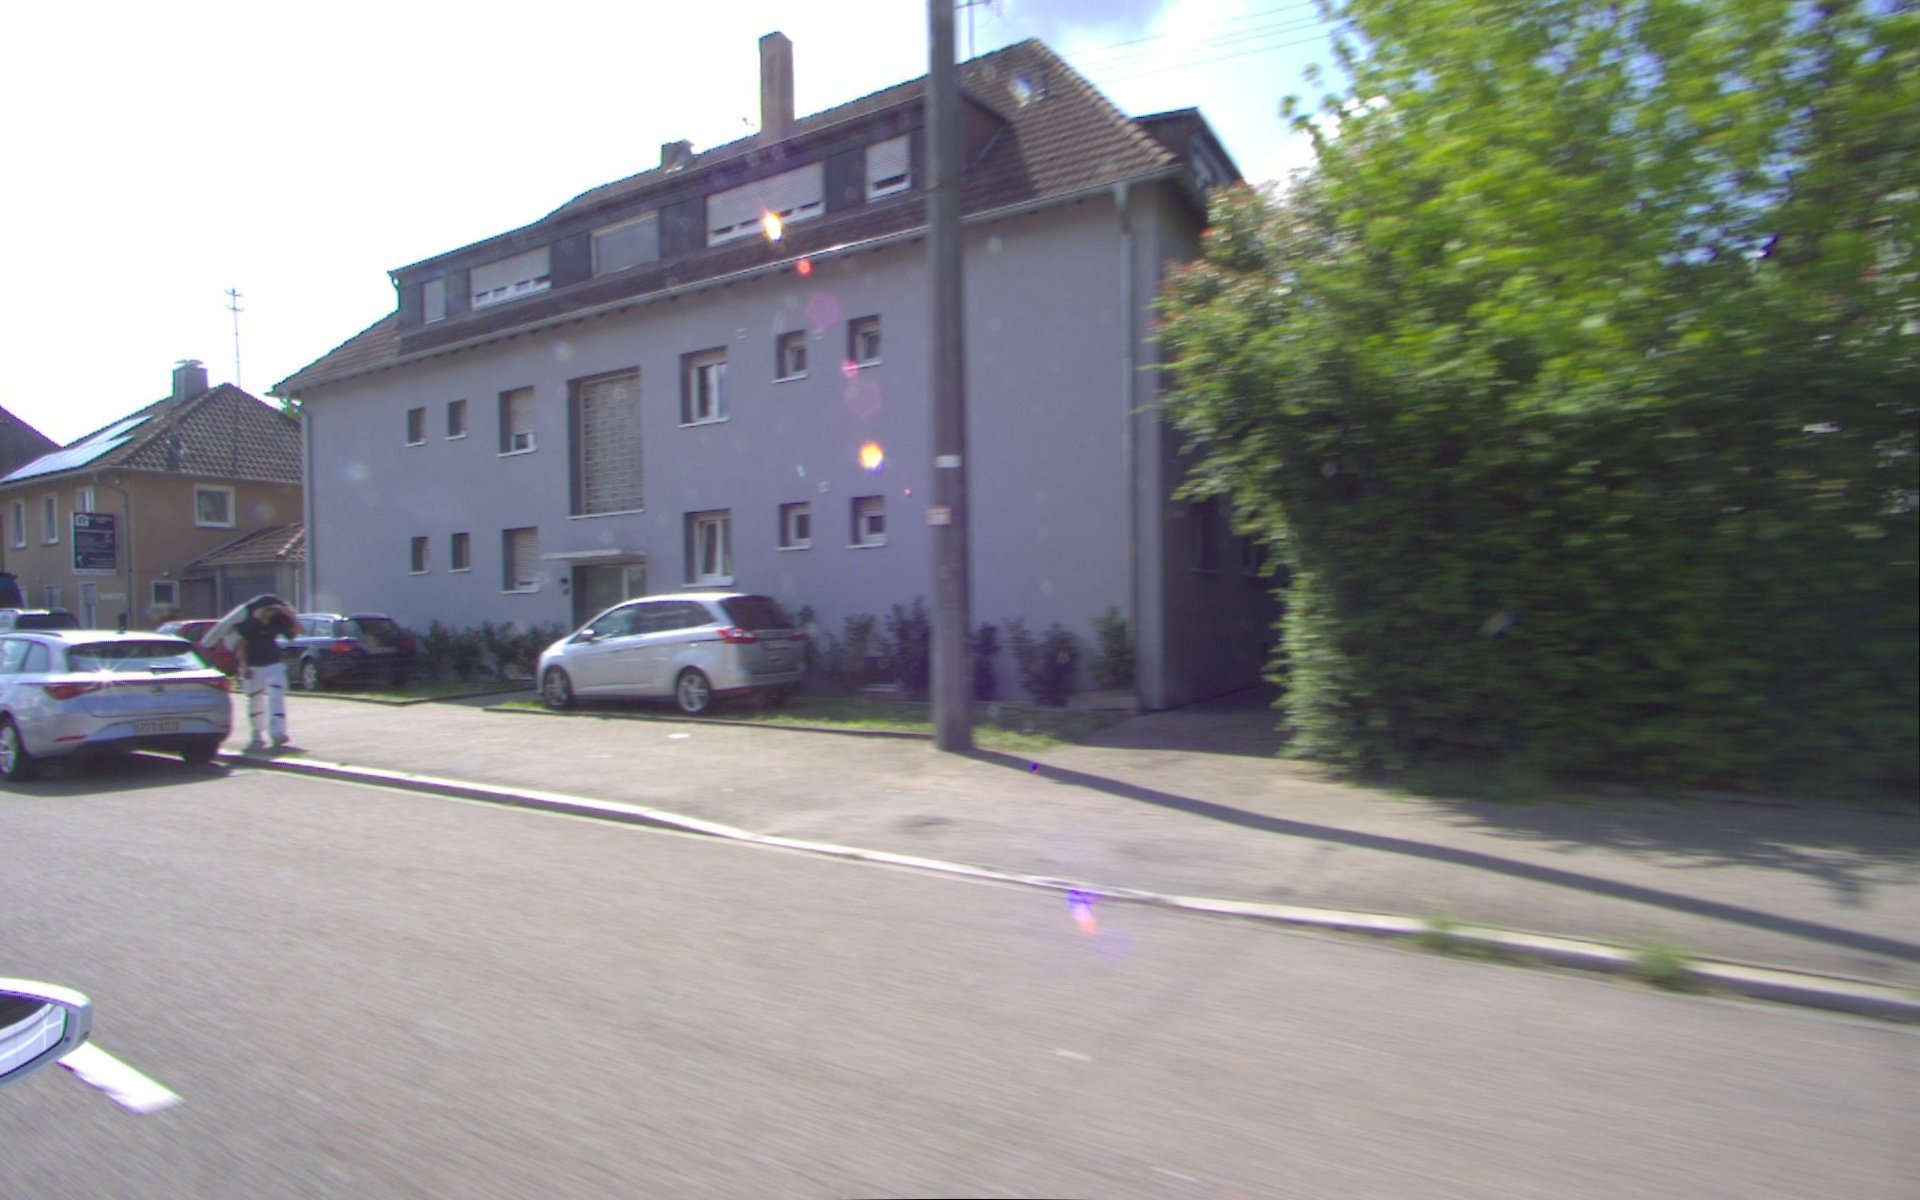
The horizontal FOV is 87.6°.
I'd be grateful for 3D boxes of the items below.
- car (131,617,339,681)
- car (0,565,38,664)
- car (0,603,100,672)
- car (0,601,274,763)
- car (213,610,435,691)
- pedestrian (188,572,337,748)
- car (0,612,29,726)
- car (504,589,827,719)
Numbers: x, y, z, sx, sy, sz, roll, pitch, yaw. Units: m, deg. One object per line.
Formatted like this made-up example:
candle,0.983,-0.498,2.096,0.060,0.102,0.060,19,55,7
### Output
car,-17.097,1.118,23.787,1.701,1.398,3.646,-2,-1,29
car,-31.489,0.509,31.389,6.153,2.967,2.149,-1,-2,31
car,-26.298,1.002,28.064,4.791,1.735,1.833,0,2,30
car,-9.765,0.821,11.051,4.574,1.472,1.813,-1,-2,30
car,-12.732,0.949,19.967,4.786,1.442,1.795,-1,0,31
pedestrian,-8.320,0.690,11.962,1.076,1.971,1.110,-1,0,31
car,-15.470,0.989,14.437,4.189,1.579,1.806,-1,-2,29
car,-4.404,0.742,14.763,4.697,1.669,1.755,-1,0,29
